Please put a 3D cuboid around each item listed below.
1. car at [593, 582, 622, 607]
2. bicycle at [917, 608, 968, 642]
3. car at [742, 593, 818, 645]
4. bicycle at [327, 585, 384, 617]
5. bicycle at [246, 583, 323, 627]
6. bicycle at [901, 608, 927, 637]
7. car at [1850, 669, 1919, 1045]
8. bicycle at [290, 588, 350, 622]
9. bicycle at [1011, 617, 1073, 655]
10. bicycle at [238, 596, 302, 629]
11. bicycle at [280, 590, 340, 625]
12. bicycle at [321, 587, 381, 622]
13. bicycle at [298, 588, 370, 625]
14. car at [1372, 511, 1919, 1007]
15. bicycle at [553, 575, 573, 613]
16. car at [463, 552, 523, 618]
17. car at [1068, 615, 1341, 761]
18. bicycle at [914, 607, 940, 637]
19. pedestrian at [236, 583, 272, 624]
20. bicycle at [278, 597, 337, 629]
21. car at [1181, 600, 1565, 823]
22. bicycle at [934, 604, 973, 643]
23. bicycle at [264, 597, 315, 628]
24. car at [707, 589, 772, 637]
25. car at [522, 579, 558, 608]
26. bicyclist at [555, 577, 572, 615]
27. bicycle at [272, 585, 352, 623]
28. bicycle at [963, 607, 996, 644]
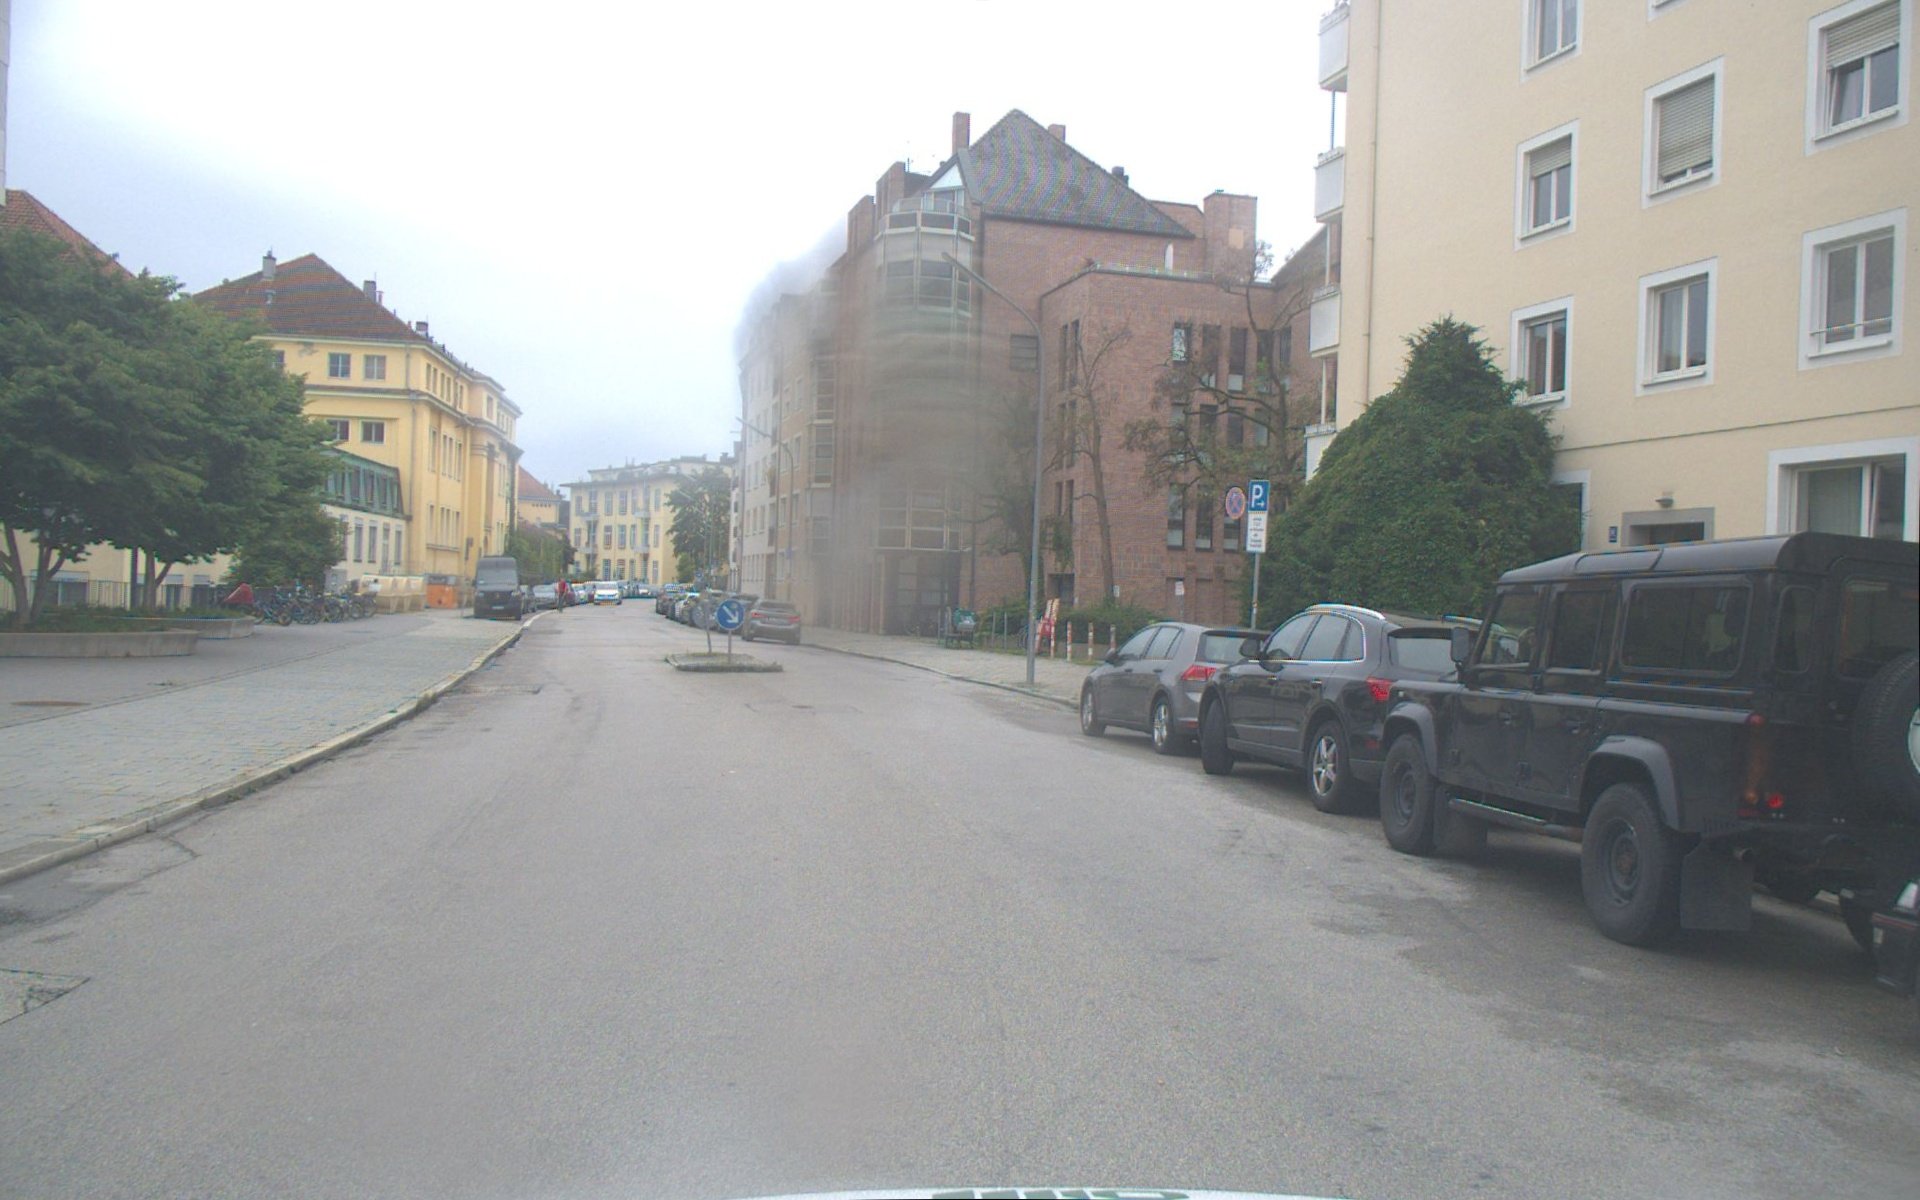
[{"bbox_3d":[-25.164,-0.390,118.145,1.990,1.650,4.490,0,-1,-13],"label":"car"},{"bbox_3d":[-0.677,0.939,62.279,1.814,1.167,0.487,4,0,-8],"label":"bicycle"},{"bbox_3d":[-6.061,0.602,55.313,1.892,1.538,4.376,4,0,-14],"label":"car"},{"bbox_3d":[-23.109,0.035,63.240,1.867,1.111,0.677,4,0,-4],"label":"bicycle"},{"bbox_3d":[-21.582,0.149,52.842,2.063,1.249,0.786,4,0,-4],"label":"bicycle"},{"bbox_3d":[-1.782,0.852,63.632,0.478,1.078,1.987,4,-1,-16],"label":"bicycle"},{"bbox_3d":[4.655,1.002,4.765,1.629,1.372,3.794,4,-1,-11],"label":"car"},{"bbox_3d":[-22.272,0.173,57.568,1.830,1.047,0.539,4,0,-4],"label":"bicycle"},{"bbox_3d":[2.414,1.061,48.610,1.671,0.982,0.544,4,0,-14],"label":"bicycle"},{"bbox_3d":[-20.980,0.389,50.316,1.686,0.877,0.438,4,0,-8],"label":"bicycle"},{"bbox_3d":[-22.058,0.254,56.115,1.755,1.051,0.507,4,0,-4],"label":"bicycle"},{"bbox_3d":[-22.686,0.160,61.633,1.918,1.151,0.572,4,0,-4],"label":"bicycle"},{"bbox_3d":[-22.298,0.224,58.934,2.265,1.154,0.581,4,0,-4],"label":"bicycle"},{"bbox_3d":[4.078,0.683,9.476,1.714,2.117,4.509,4,1,-7],"label":"car"},{"bbox_3d":[-21.488,-0.337,89.564,0.734,2.048,2.843,0,1,-8],"label":"bicycle"},{"bbox_3d":[-20.495,-0.615,72.758,2.382,2.762,5.929,1,0,-15],"label":"car"},{"bbox_3d":[2.711,0.953,19.317,1.724,1.420,4.030,4,-1,-13],"label":"car"},{"bbox_3d":[-1.288,0.847,63.790,0.478,1.078,1.987,4,0,-16],"label":"bicycle"},{"bbox_3d":[-21.761,0.110,50.988,0.705,1.183,1.038,4,0,-9],"label":"pedestrian"},{"bbox_3d":[-21.556,0.422,54.639,1.642,0.932,0.595,4,0,-4],"label":"bicycle"},{"bbox_3d":[3.458,0.857,14.824,1.628,1.593,4.505,4,0,-9],"label":"car"},{"bbox_3d":[-0.220,0.783,56.557,0.526,1.270,2.399,3,-1,-19],"label":"bicycle"},{"bbox_3d":[-20.855,0.388,51.434,1.346,0.877,0.438,4,0,-8],"label":"bicycle"},{"bbox_3d":[-8.805,0.494,65.744,1.801,1.629,4.246,4,1,-17],"label":"car"},{"bbox_3d":[-25.110,-0.410,98.963,1.741,1.577,3.768,4,1,-11],"label":"car"},{"bbox_3d":[-21.513,-0.228,89.747,0.752,2.048,0.766,-1,1,-9],"label":"bicyclist"},{"bbox_3d":[-22.280,0.142,56.873,2.503,1.227,0.424,2,0,-4],"label":"bicycle"},{"bbox_3d":[0.666,0.854,54.937,0.412,1.193,1.358,4,0,30],"label":"bicycle"}]
